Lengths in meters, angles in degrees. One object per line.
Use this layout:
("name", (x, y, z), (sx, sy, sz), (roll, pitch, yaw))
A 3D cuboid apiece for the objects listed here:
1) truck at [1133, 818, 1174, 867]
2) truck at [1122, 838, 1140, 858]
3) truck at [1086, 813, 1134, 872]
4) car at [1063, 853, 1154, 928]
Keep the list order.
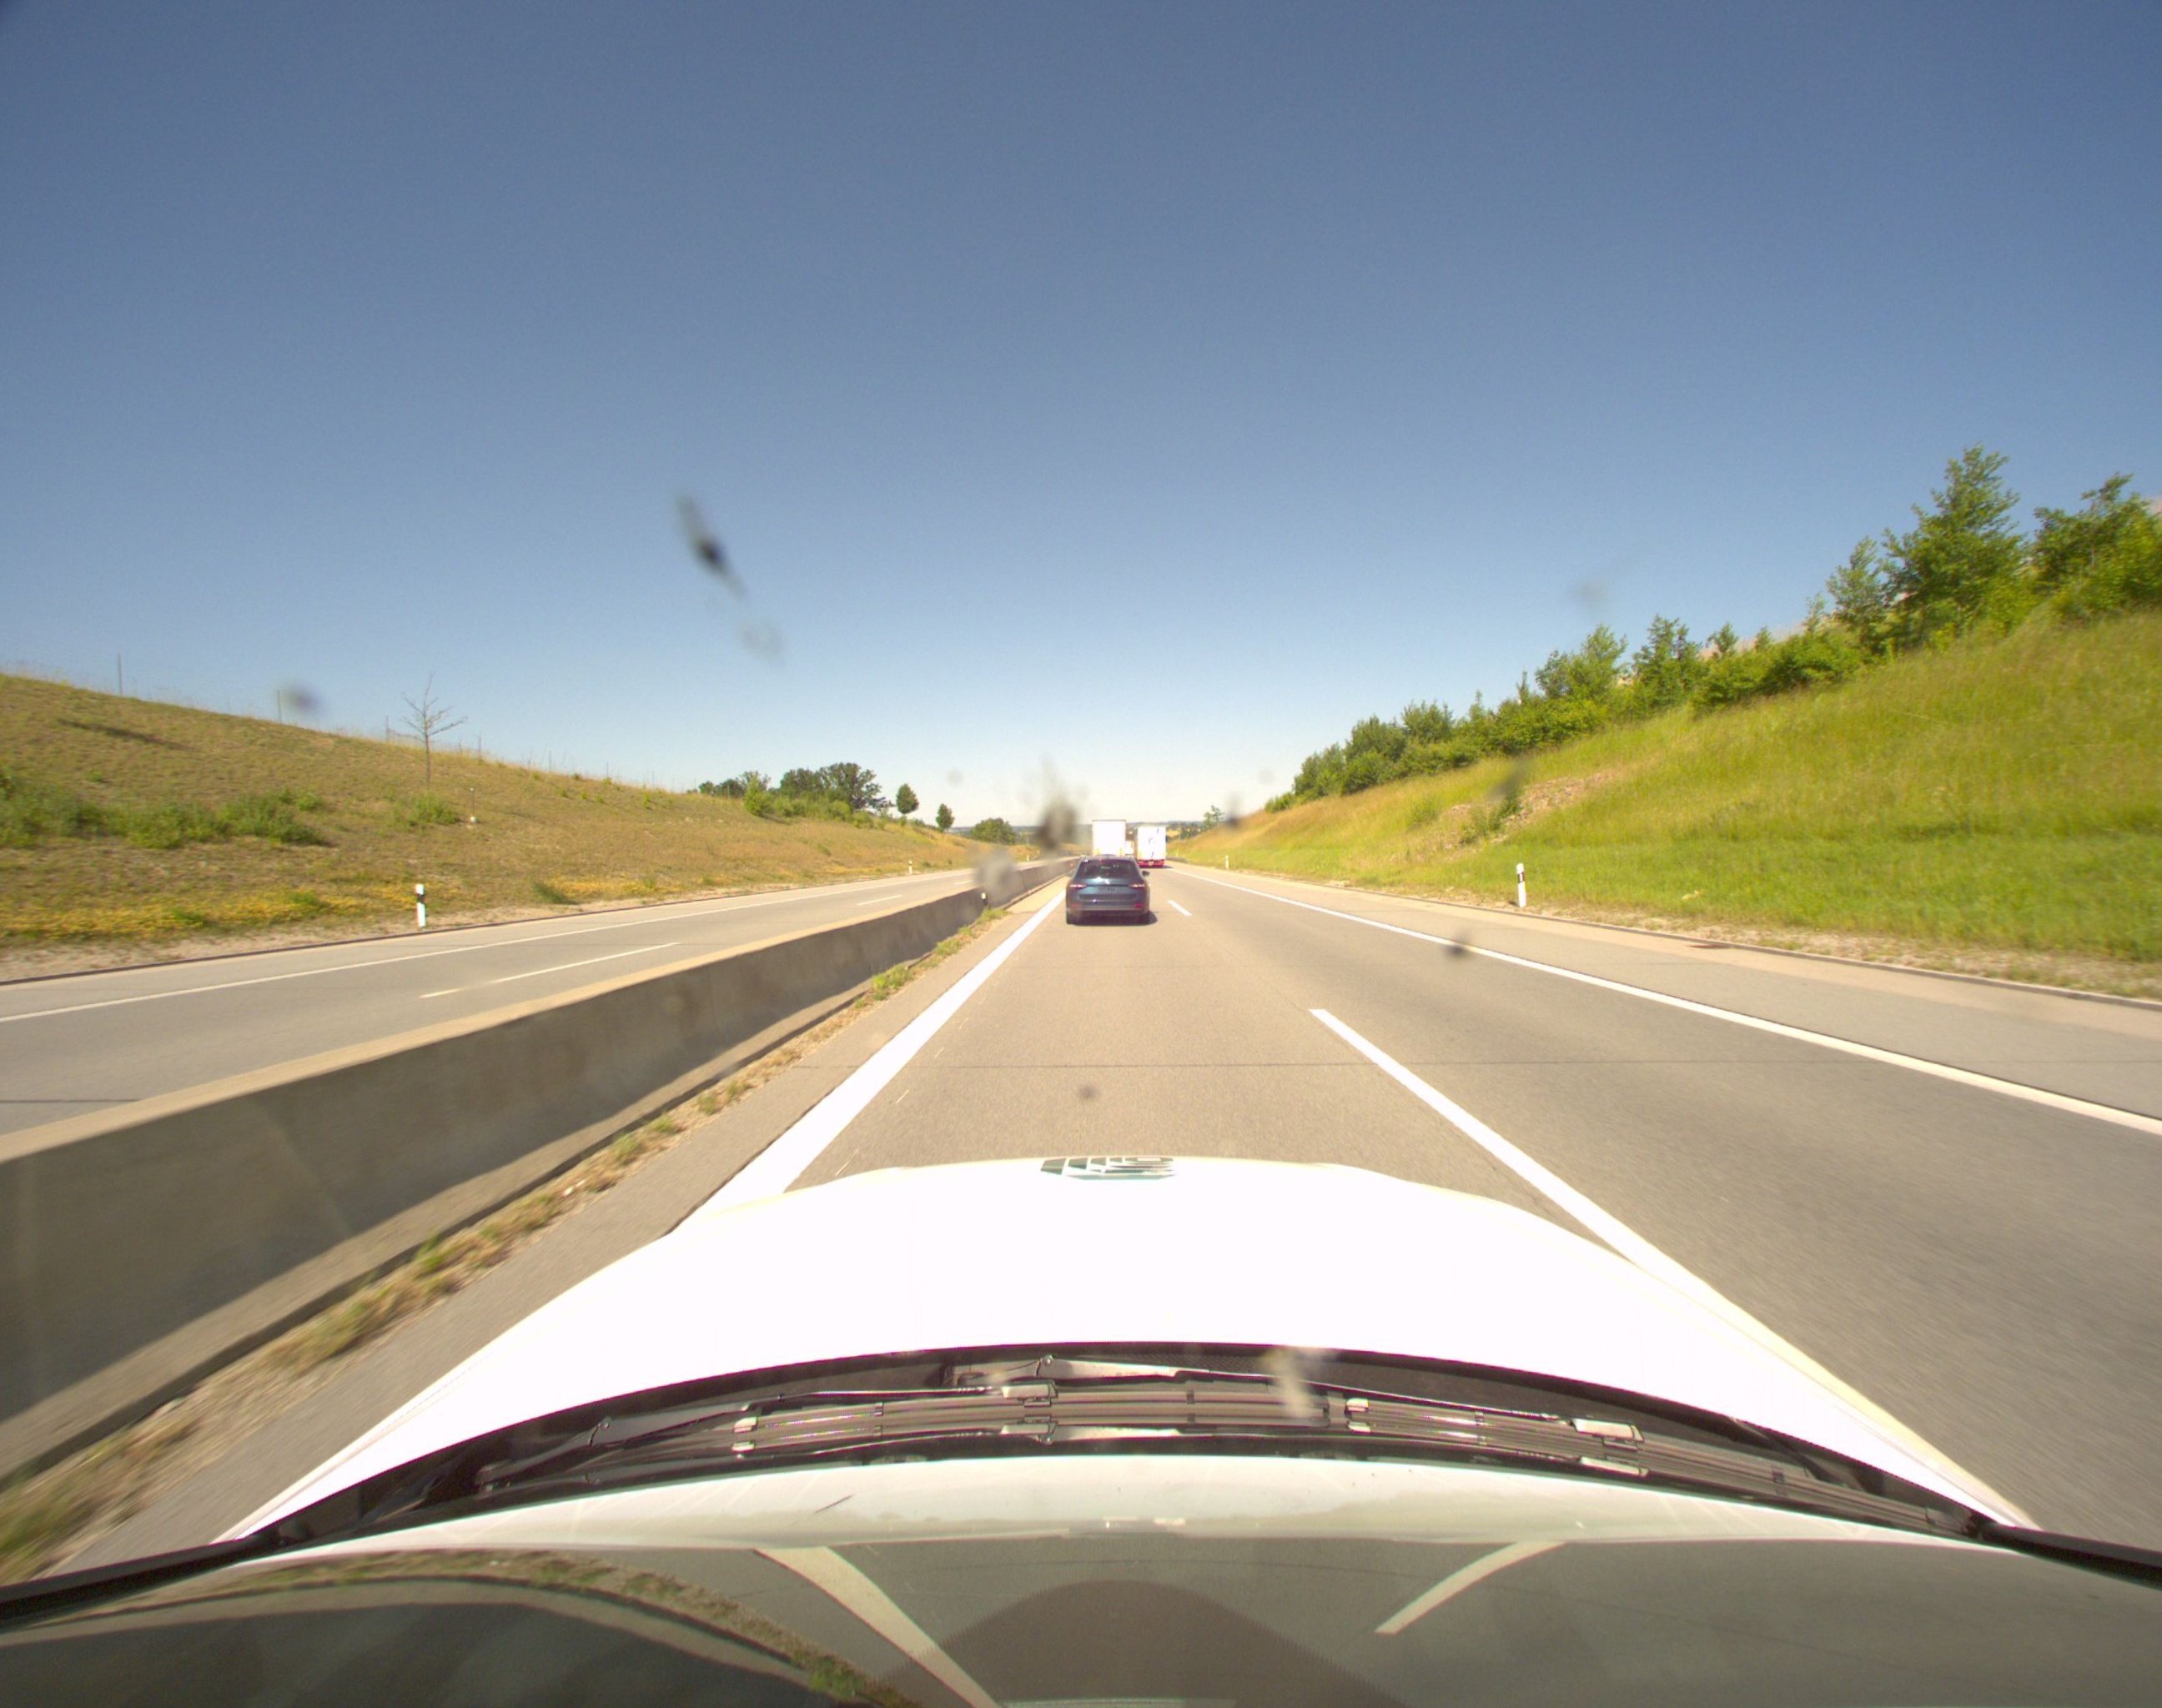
("truck", (7.178, -1.124, 80.950), (3.588, 4.381, 11.248), (-3, 0, 5))
("truck", (11.657, -1.307, 188.664), (3.588, 4.381, 11.248), (-3, 0, 5))
("truck", (2.557, -0.900, 67.564), (3.195, 4.381, 11.249), (-3, 0, 5))
("car", (0.585, 0.732, 18.224), (1.770, 1.441, 3.789), (-2, 0, 1))
